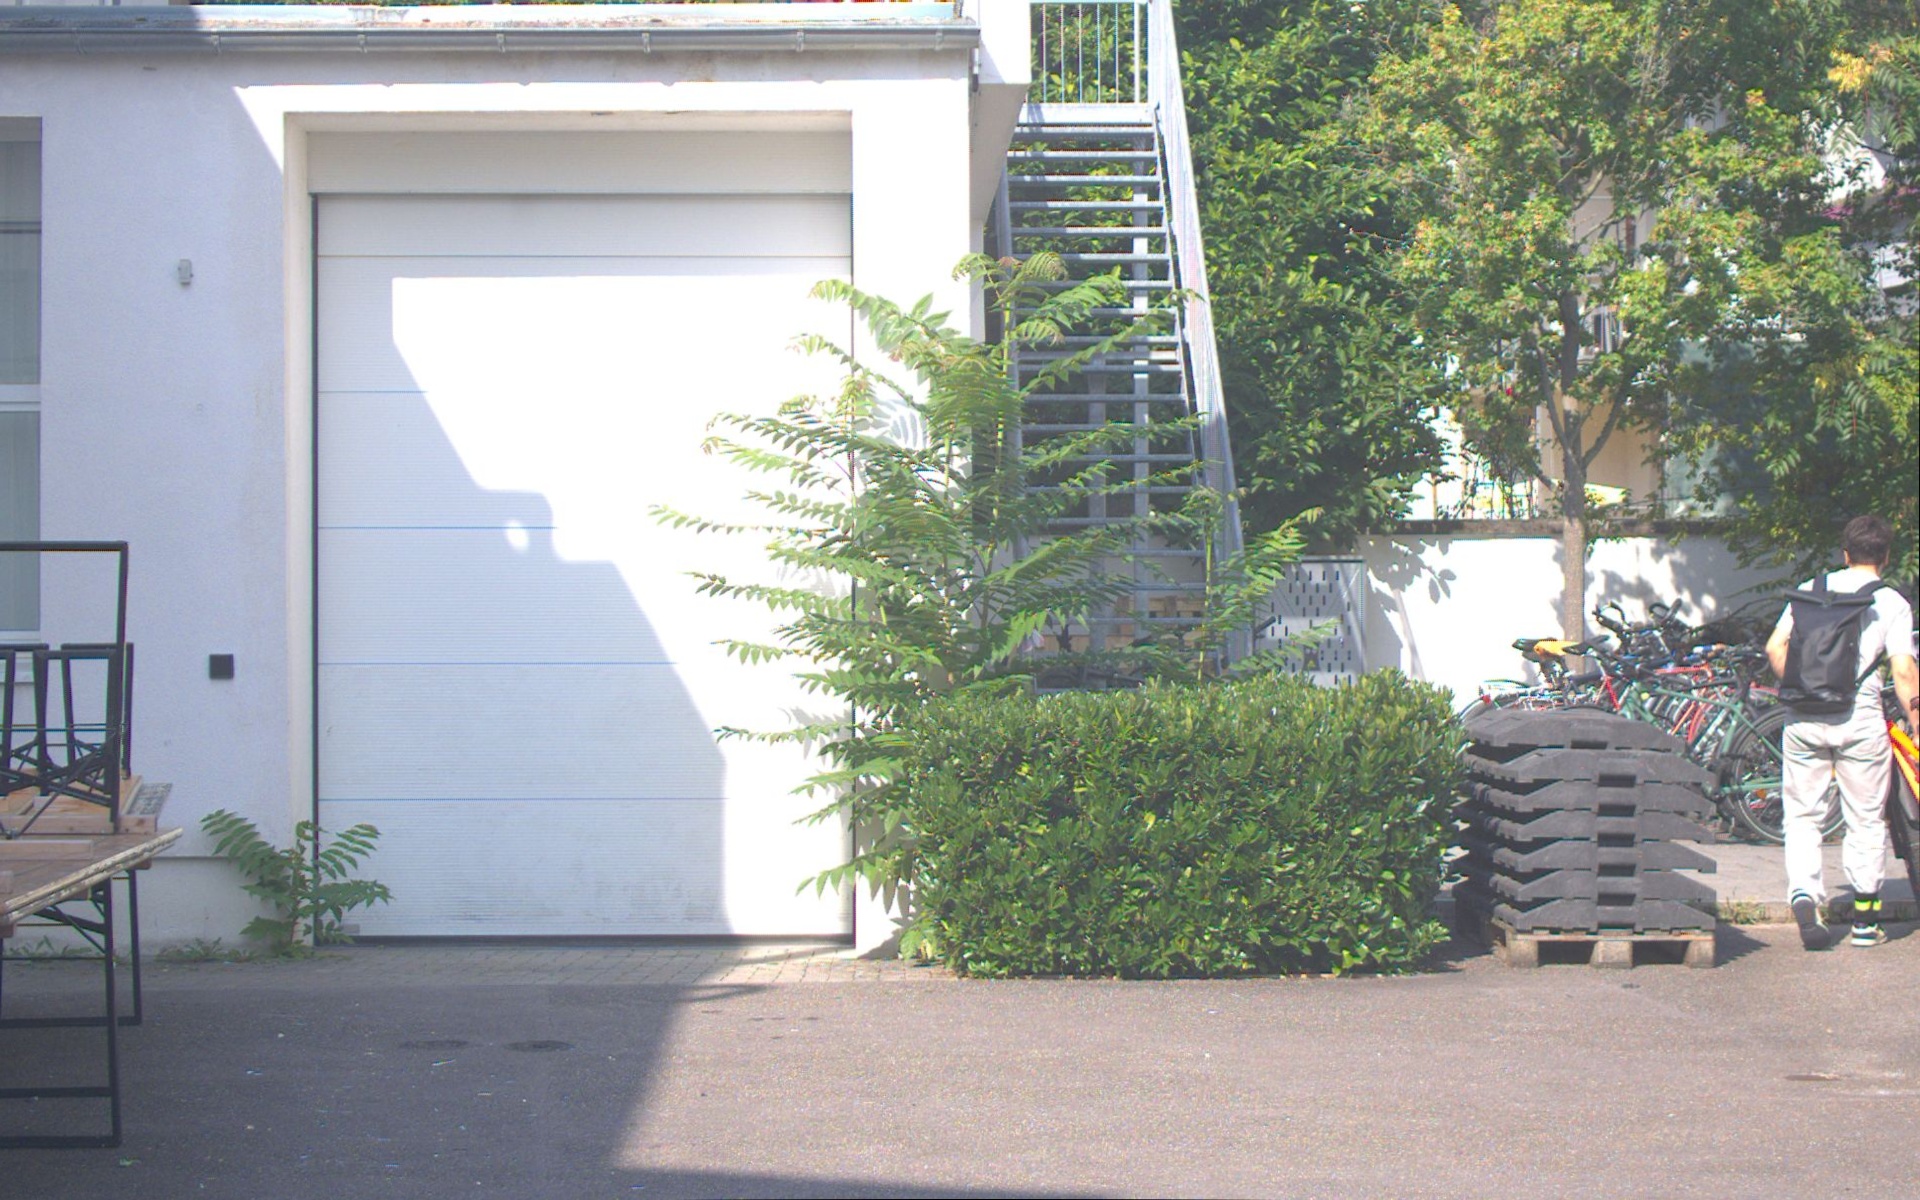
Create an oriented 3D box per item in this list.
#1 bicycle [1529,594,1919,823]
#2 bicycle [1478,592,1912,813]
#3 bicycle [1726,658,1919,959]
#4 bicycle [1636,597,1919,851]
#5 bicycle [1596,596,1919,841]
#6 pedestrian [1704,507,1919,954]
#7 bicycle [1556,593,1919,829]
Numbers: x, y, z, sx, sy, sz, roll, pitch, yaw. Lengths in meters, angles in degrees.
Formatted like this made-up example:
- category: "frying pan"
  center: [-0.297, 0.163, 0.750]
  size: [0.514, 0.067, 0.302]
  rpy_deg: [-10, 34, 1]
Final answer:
- category: "bicycle"
  center: [4.470, 0.607, 19.409]
  size: [2.411, 1.242, 0.526]
  rpy_deg: [1, 0, -1]
- category: "bicycle"
  center: [4.286, 0.591, 20.120]
  size: [2.411, 1.242, 0.526]
  rpy_deg: [1, 0, -1]
- category: "bicycle"
  center: [3.913, 0.842, 13.891]
  size: [0.488, 1.140, 1.994]
  rpy_deg: [-1, 1, -24]
- category: "bicycle"
  center: [4.679, 0.625, 17.342]
  size: [2.411, 1.242, 0.526]
  rpy_deg: [1, 0, -1]
- category: "bicycle"
  center: [4.594, 0.617, 17.997]
  size: [2.411, 1.242, 0.526]
  rpy_deg: [1, 0, -1]
- category: "pedestrian"
  center: [3.584, 0.515, 14.019]
  size: [0.858, 1.765, 0.611]
  rpy_deg: [1, 0, -21]
- category: "bicycle"
  center: [4.519, 0.604, 18.793]
  size: [2.411, 1.242, 0.526]
  rpy_deg: [1, 0, -1]
